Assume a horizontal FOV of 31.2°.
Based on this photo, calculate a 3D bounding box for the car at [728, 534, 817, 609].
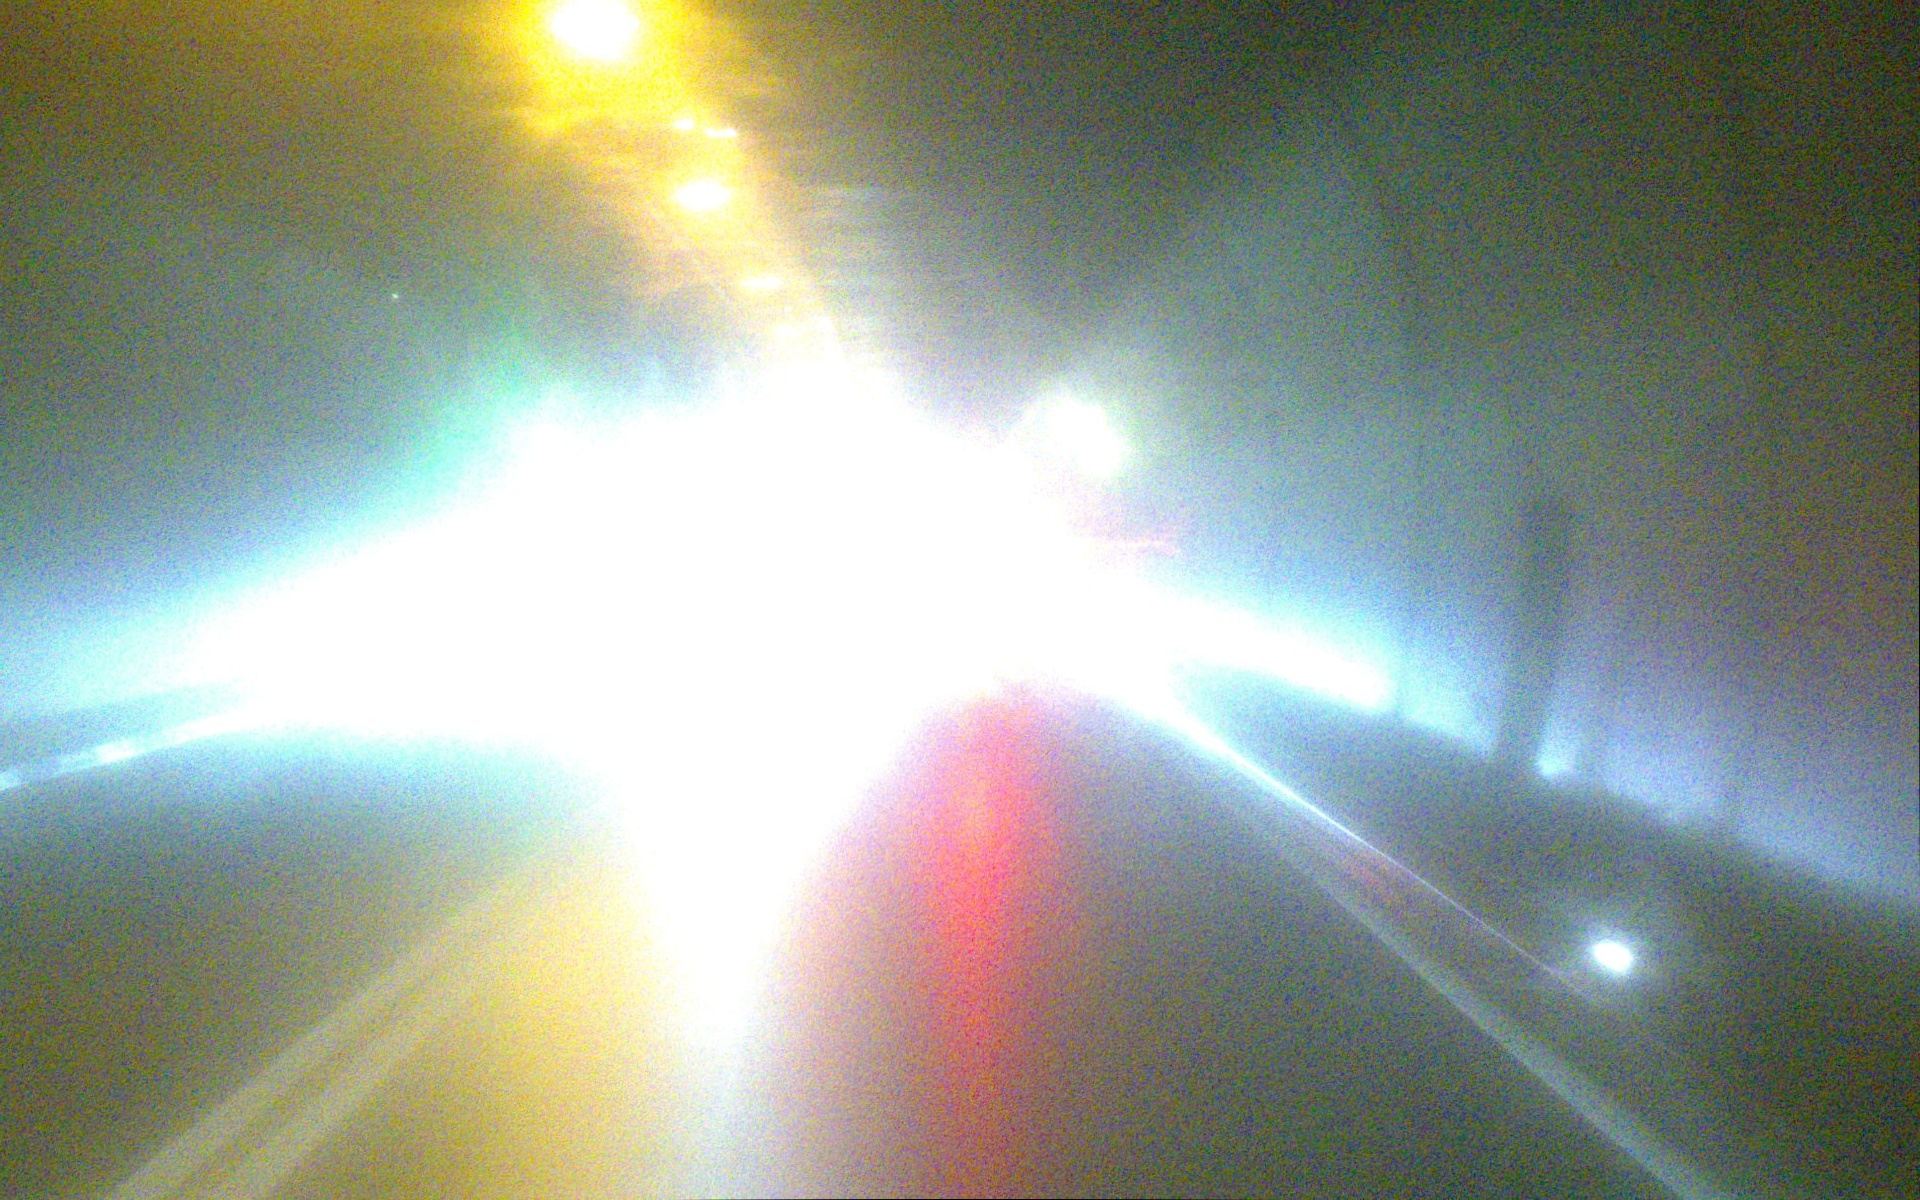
[{"bbox_3d":[-3.961,-0.618,72.550,1.777,1.404,4.295,-2,2,-3],"label":"car"}]

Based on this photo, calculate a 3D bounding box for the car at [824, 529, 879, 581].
[{"bbox_3d":[-4.590,-1.929,146.220,2.211,2.006,4.001,-2,2,-1],"label":"car"}]

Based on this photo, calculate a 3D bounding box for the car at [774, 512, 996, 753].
[{"bbox_3d":[-0.557,0.200,28.493,1.635,1.751,4.146,-2,2,1],"label":"car"}]
